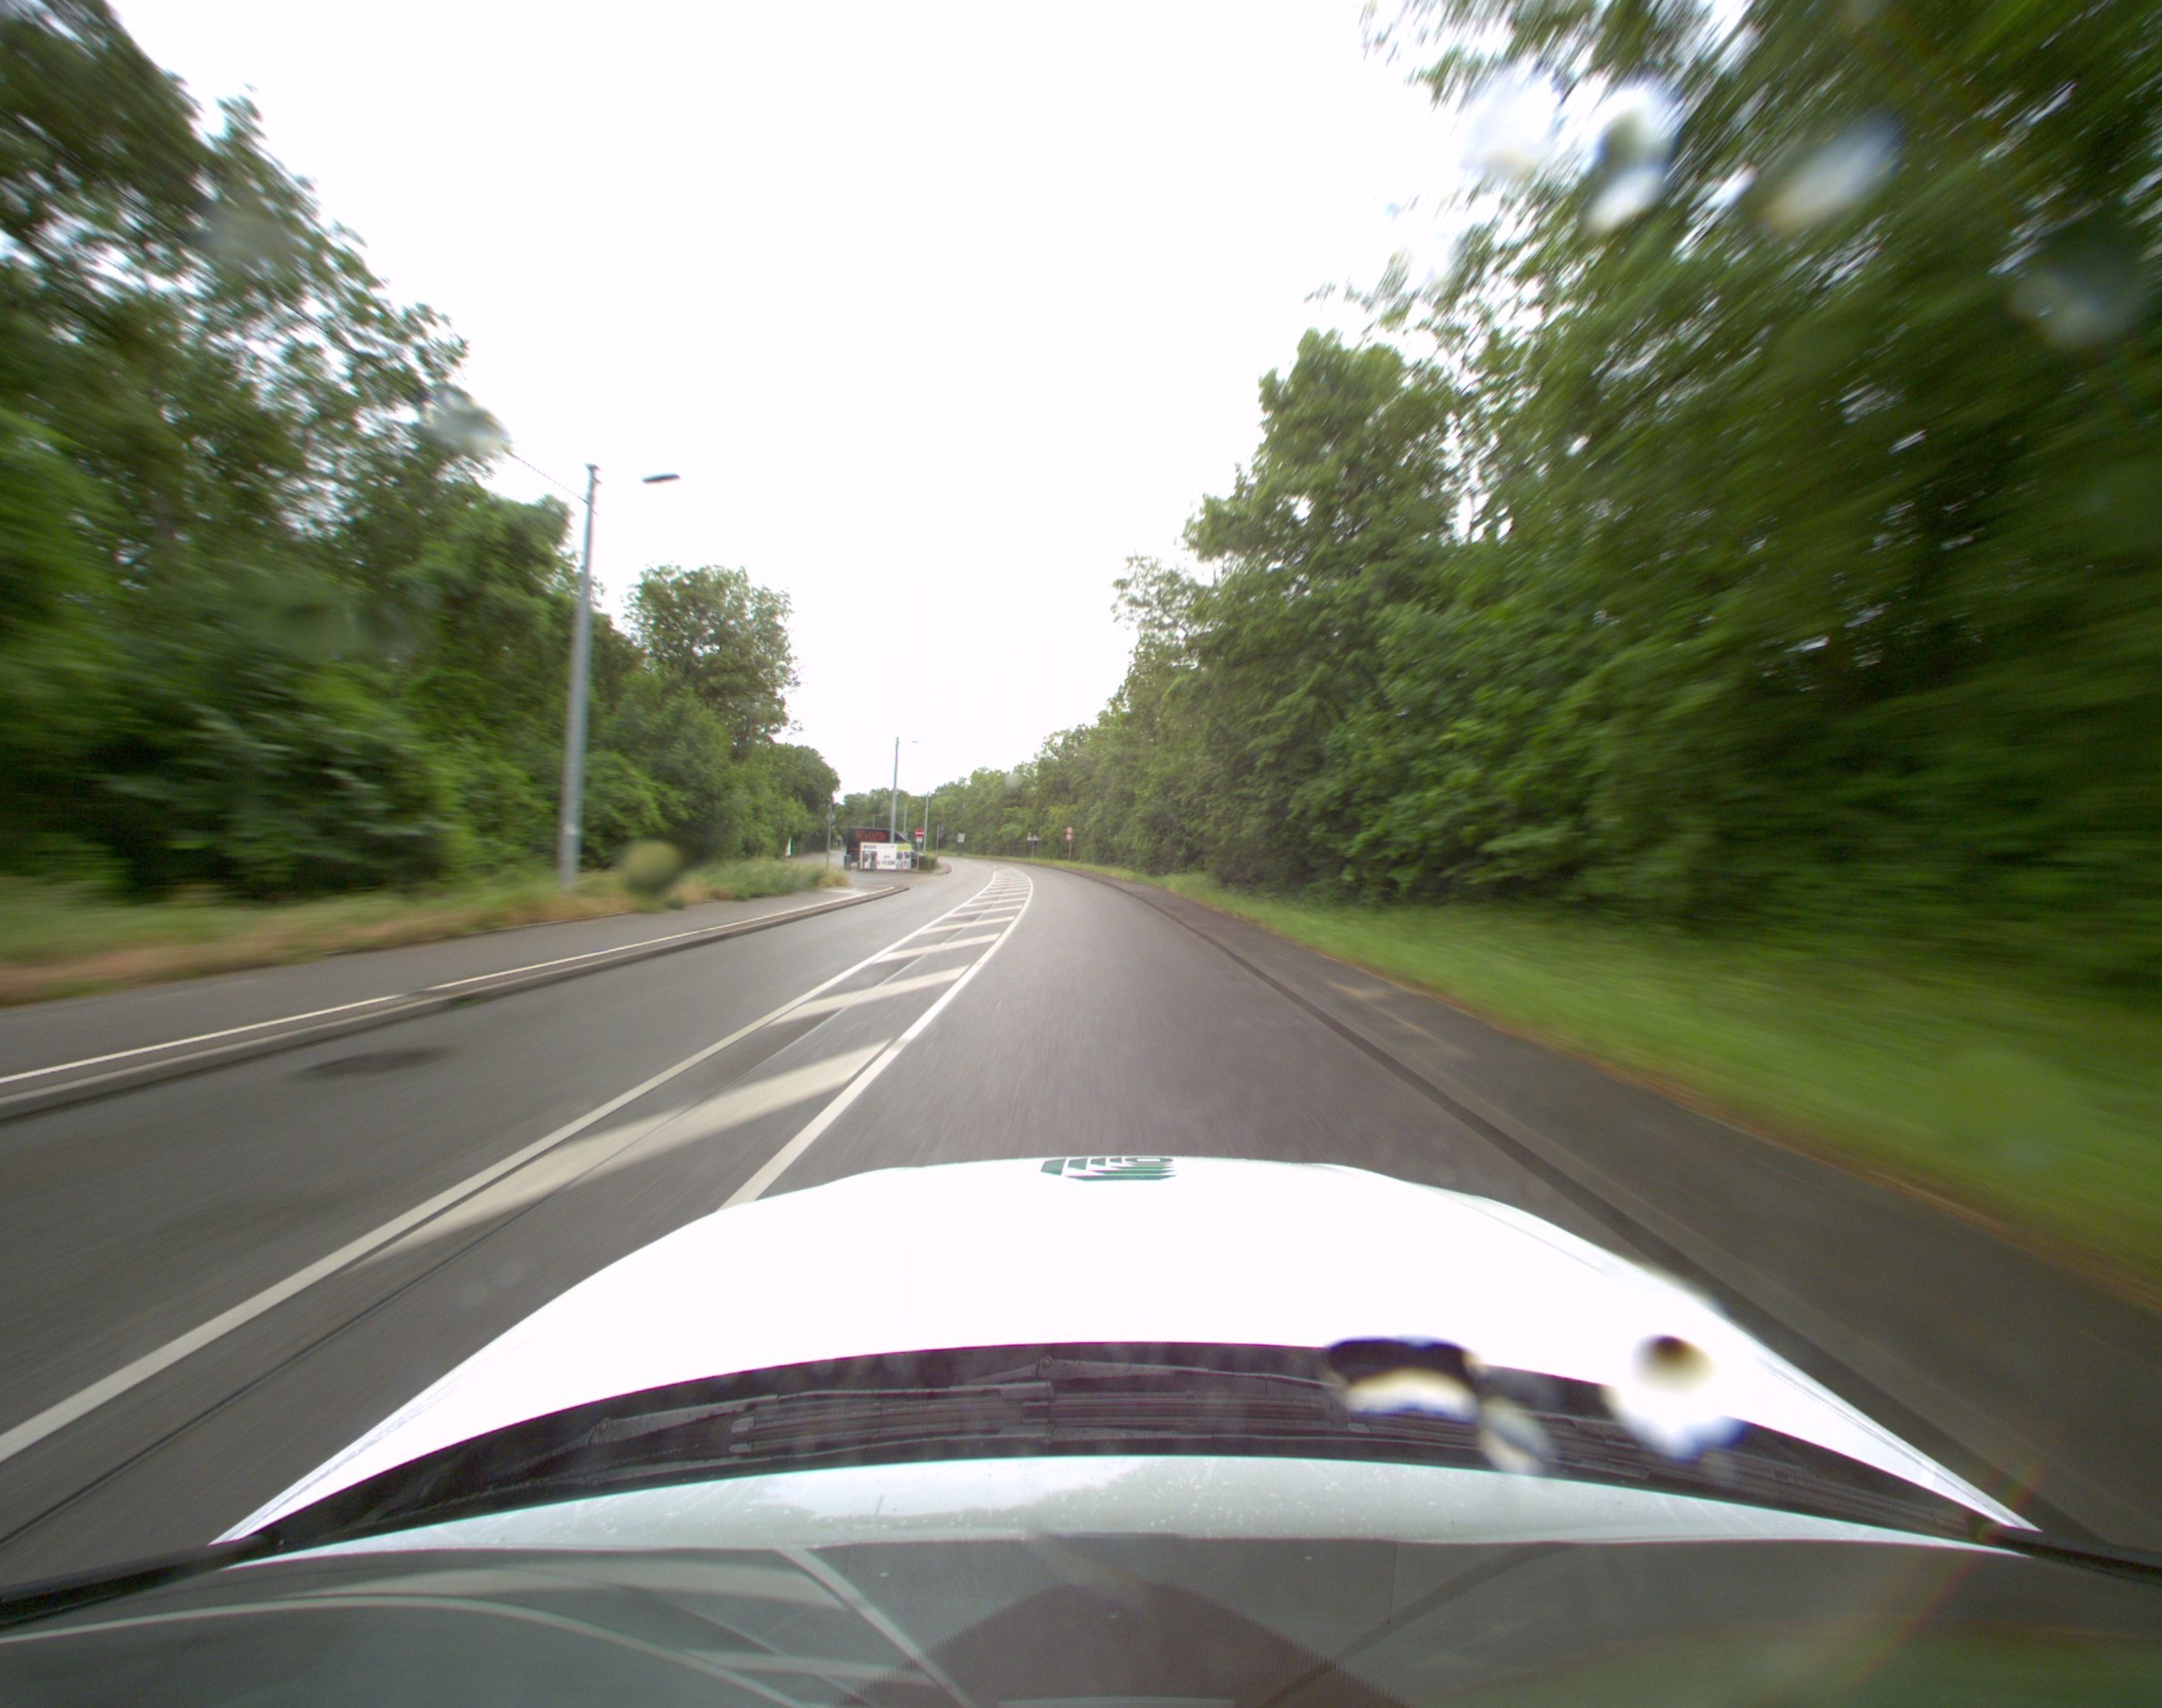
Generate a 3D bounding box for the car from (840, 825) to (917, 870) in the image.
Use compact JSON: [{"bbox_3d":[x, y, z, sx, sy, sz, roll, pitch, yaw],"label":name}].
[{"bbox_3d":[-16.346,-0.512,66.080,5.954,3.502,1.991,0,0,-14],"label":"car"}]
